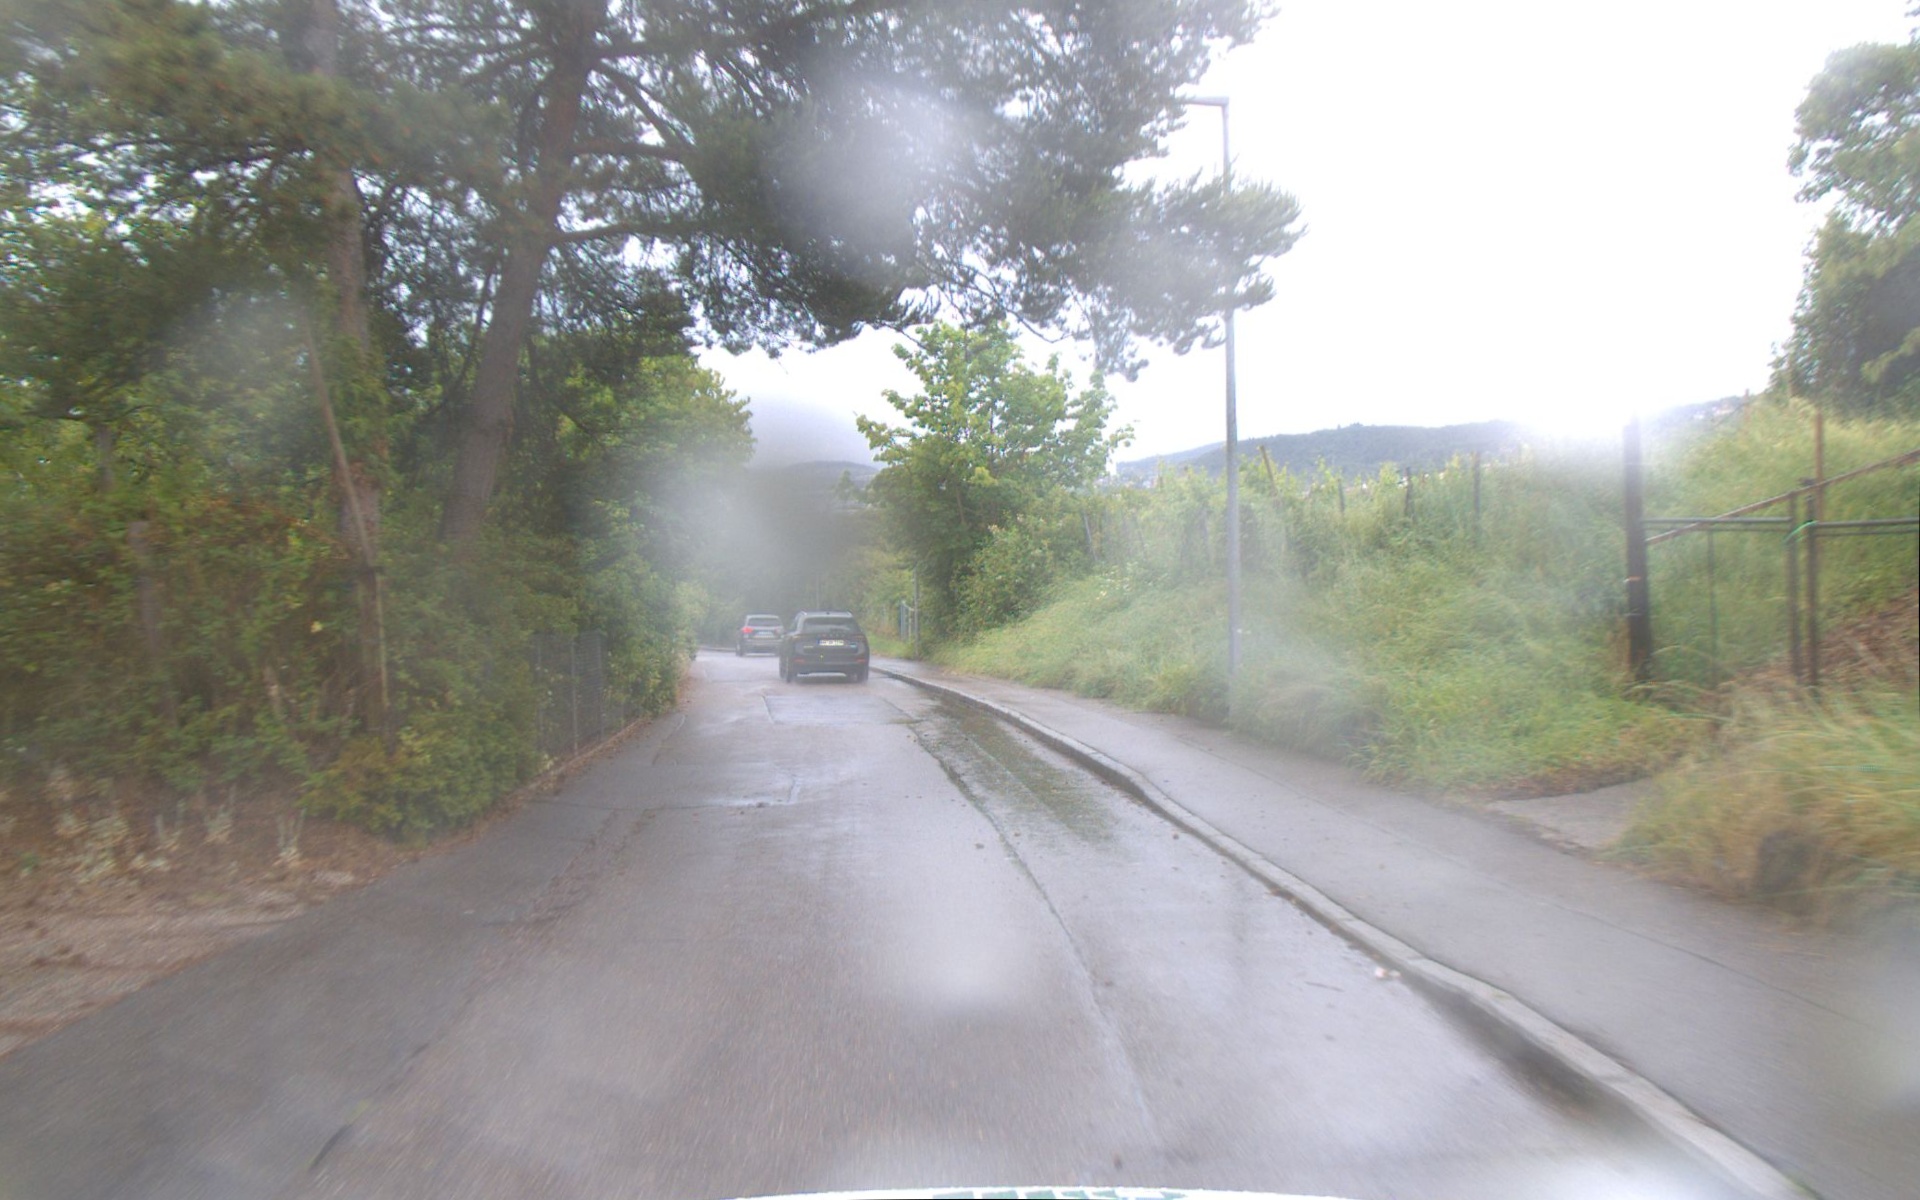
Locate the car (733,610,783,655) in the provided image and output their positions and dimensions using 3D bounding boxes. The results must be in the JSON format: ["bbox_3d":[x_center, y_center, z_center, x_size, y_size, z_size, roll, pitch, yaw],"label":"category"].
[{"bbox_3d":[-7.669,1.209,62.655,1.648,1.592,3.784,0,0,-10],"label":"car"}]

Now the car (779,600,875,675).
[{"bbox_3d":[-2.933,0.769,35.732,1.801,1.489,3.992,-1,0,-8],"label":"car"}]
